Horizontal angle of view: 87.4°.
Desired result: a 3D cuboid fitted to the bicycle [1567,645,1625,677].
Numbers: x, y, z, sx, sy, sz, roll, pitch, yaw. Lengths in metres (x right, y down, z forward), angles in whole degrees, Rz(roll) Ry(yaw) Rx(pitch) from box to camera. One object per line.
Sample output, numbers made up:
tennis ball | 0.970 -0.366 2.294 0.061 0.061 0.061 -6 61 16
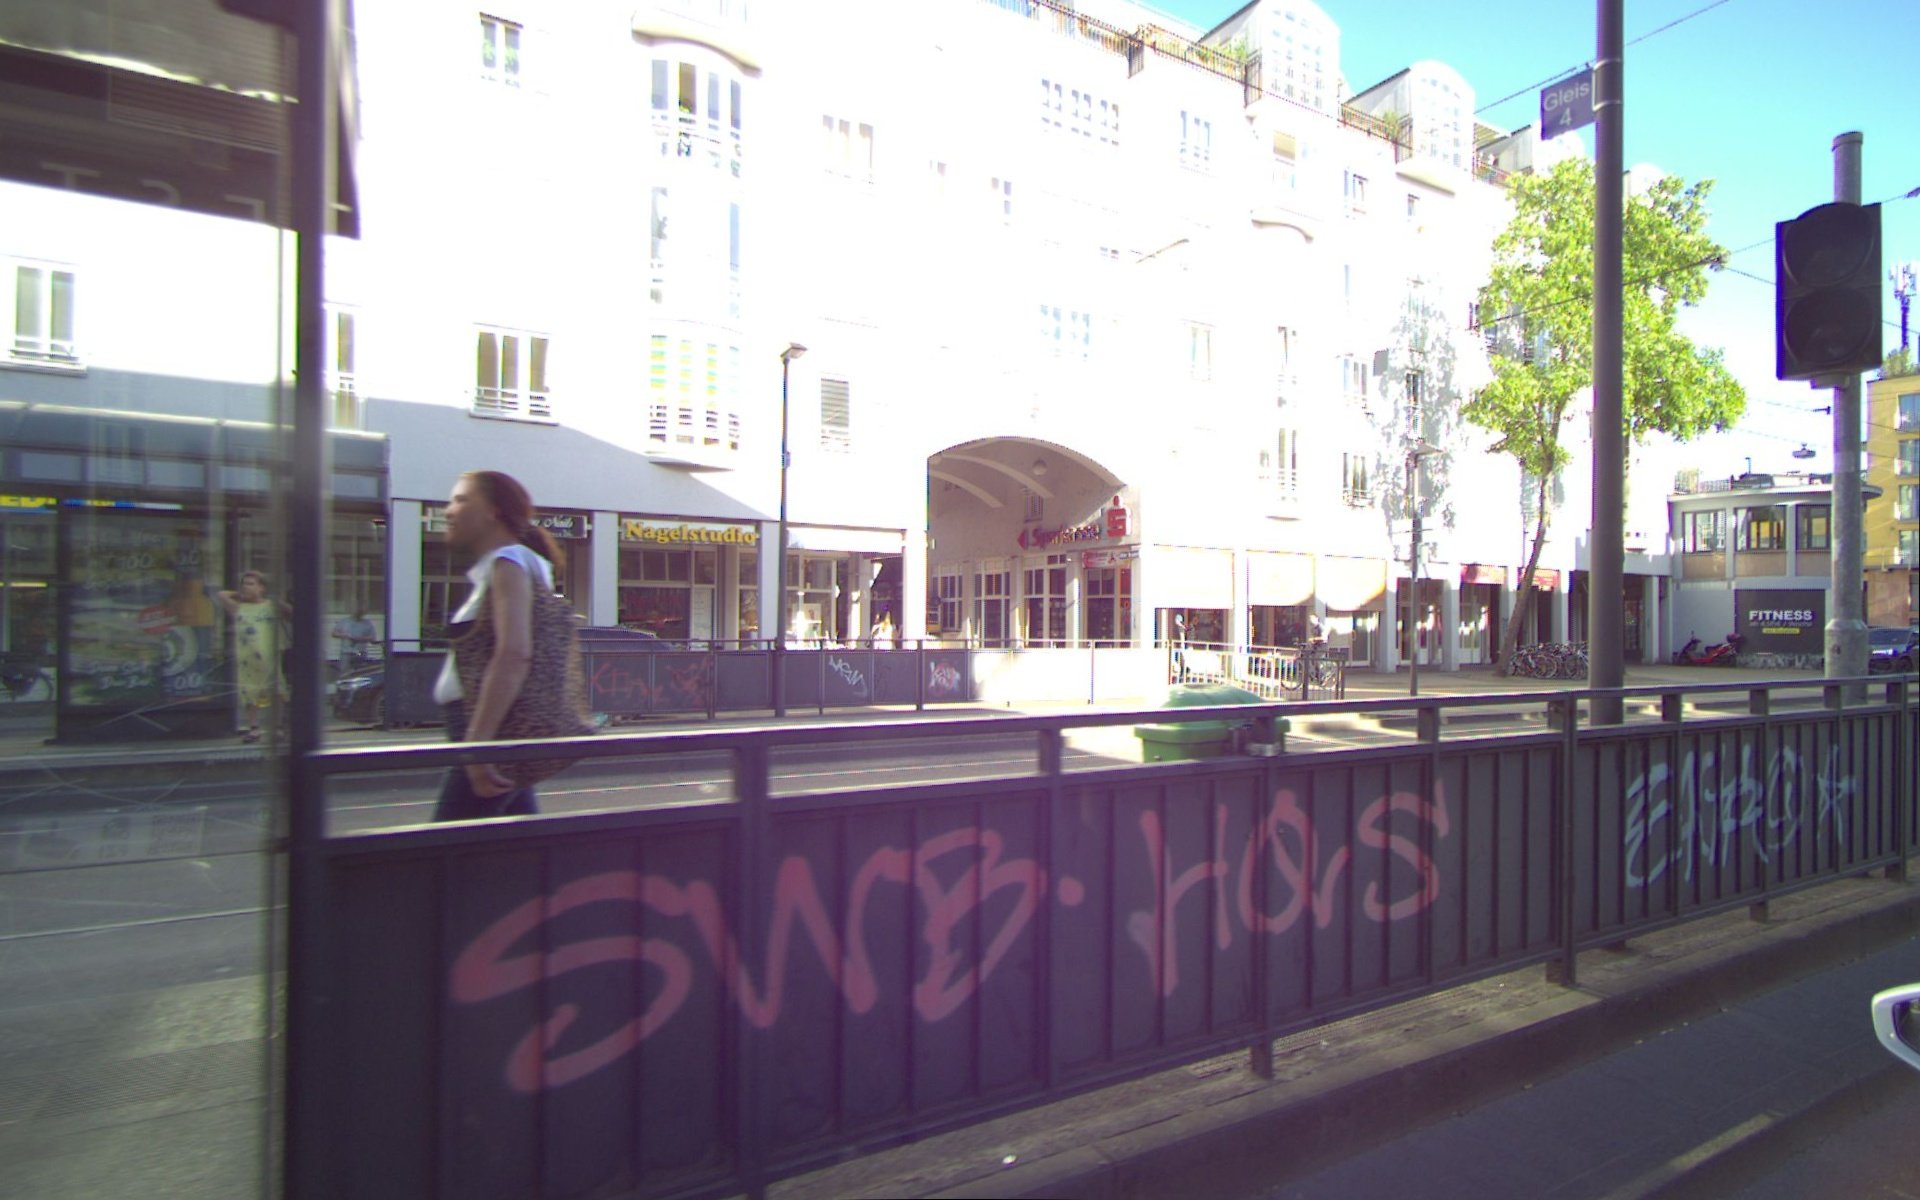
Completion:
bicycle | 19.451 1.873 30.729 1.465 0.953 0.393 0 -1 6

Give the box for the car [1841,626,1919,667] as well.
car | 41.766 2.037 44.365 1.937 1.697 3.964 1 -1 -33

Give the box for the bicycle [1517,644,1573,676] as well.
bicycle | 17.936 1.834 30.810 1.465 0.953 0.393 0 -1 6

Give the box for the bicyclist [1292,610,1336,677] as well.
bicyclist | 8.542 1.042 24.268 0.768 1.578 0.669 1 -1 -29

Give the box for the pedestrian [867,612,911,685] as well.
pedestrian | -1.627 1.095 23.085 0.835 1.643 0.593 1 -1 -30

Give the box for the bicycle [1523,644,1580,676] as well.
bicycle | 17.890 1.808 30.393 1.465 0.953 0.393 0 -1 6

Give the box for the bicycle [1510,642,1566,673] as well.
bicycle | 17.975 1.790 31.235 1.465 0.953 0.393 0 -1 6

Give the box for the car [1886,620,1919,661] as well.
car | 45.961 1.896 46.707 1.937 1.872 3.964 1 -1 -33

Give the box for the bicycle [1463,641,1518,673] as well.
bicycle | 16.412 1.764 31.104 1.465 0.953 0.393 0 -1 6

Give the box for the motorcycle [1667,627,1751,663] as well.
motorcycle | 28.584 1.699 38.373 0.661 1.305 2.499 1 -1 -32

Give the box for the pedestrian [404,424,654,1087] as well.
pedestrian | -1.220 0.377 2.808 0.561 1.579 0.618 1 -1 -30

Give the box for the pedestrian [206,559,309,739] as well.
pedestrian | -6.496 0.431 9.328 0.734 1.580 0.727 0 0 -31

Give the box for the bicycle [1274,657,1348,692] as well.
bicycle | 8.493 1.797 24.289 1.914 0.767 0.564 1 -1 -30

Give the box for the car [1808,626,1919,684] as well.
car | 28.068 1.624 30.365 4.759 1.636 1.749 1 -3 -23

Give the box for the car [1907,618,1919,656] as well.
car | 48.219 1.801 48.017 1.937 1.872 3.964 1 -1 -33

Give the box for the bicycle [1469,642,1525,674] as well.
bicycle | 16.372 1.752 30.651 1.465 0.953 0.393 0 -1 6

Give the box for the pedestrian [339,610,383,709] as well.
pedestrian | -10.272 0.998 17.218 0.591 1.643 0.837 1 -1 -35

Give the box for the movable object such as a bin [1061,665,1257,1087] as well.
movable object such as a bin | 0.538 0.697 2.737 0.399 1.021 0.345 1 -1 -29

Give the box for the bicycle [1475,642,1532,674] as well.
bicycle | 16.316 1.739 30.155 1.465 0.953 0.393 0 -1 6

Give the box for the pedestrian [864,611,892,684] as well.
pedestrian | -1.916 1.109 23.426 0.486 1.686 0.359 2 0 -29

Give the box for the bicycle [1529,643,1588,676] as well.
bicycle | 17.847 1.776 29.960 1.465 0.953 0.393 0 -1 6

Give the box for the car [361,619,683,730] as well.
car | -6.513 1.039 15.123 4.230 1.468 1.744 1 -1 -30

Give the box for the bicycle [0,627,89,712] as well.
bicycle | -14.511 1.008 14.765 2.401 1.183 0.905 2 0 -29

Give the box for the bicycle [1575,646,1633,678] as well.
bicycle | 19.397 1.869 30.270 1.465 0.953 0.393 0 -1 6
